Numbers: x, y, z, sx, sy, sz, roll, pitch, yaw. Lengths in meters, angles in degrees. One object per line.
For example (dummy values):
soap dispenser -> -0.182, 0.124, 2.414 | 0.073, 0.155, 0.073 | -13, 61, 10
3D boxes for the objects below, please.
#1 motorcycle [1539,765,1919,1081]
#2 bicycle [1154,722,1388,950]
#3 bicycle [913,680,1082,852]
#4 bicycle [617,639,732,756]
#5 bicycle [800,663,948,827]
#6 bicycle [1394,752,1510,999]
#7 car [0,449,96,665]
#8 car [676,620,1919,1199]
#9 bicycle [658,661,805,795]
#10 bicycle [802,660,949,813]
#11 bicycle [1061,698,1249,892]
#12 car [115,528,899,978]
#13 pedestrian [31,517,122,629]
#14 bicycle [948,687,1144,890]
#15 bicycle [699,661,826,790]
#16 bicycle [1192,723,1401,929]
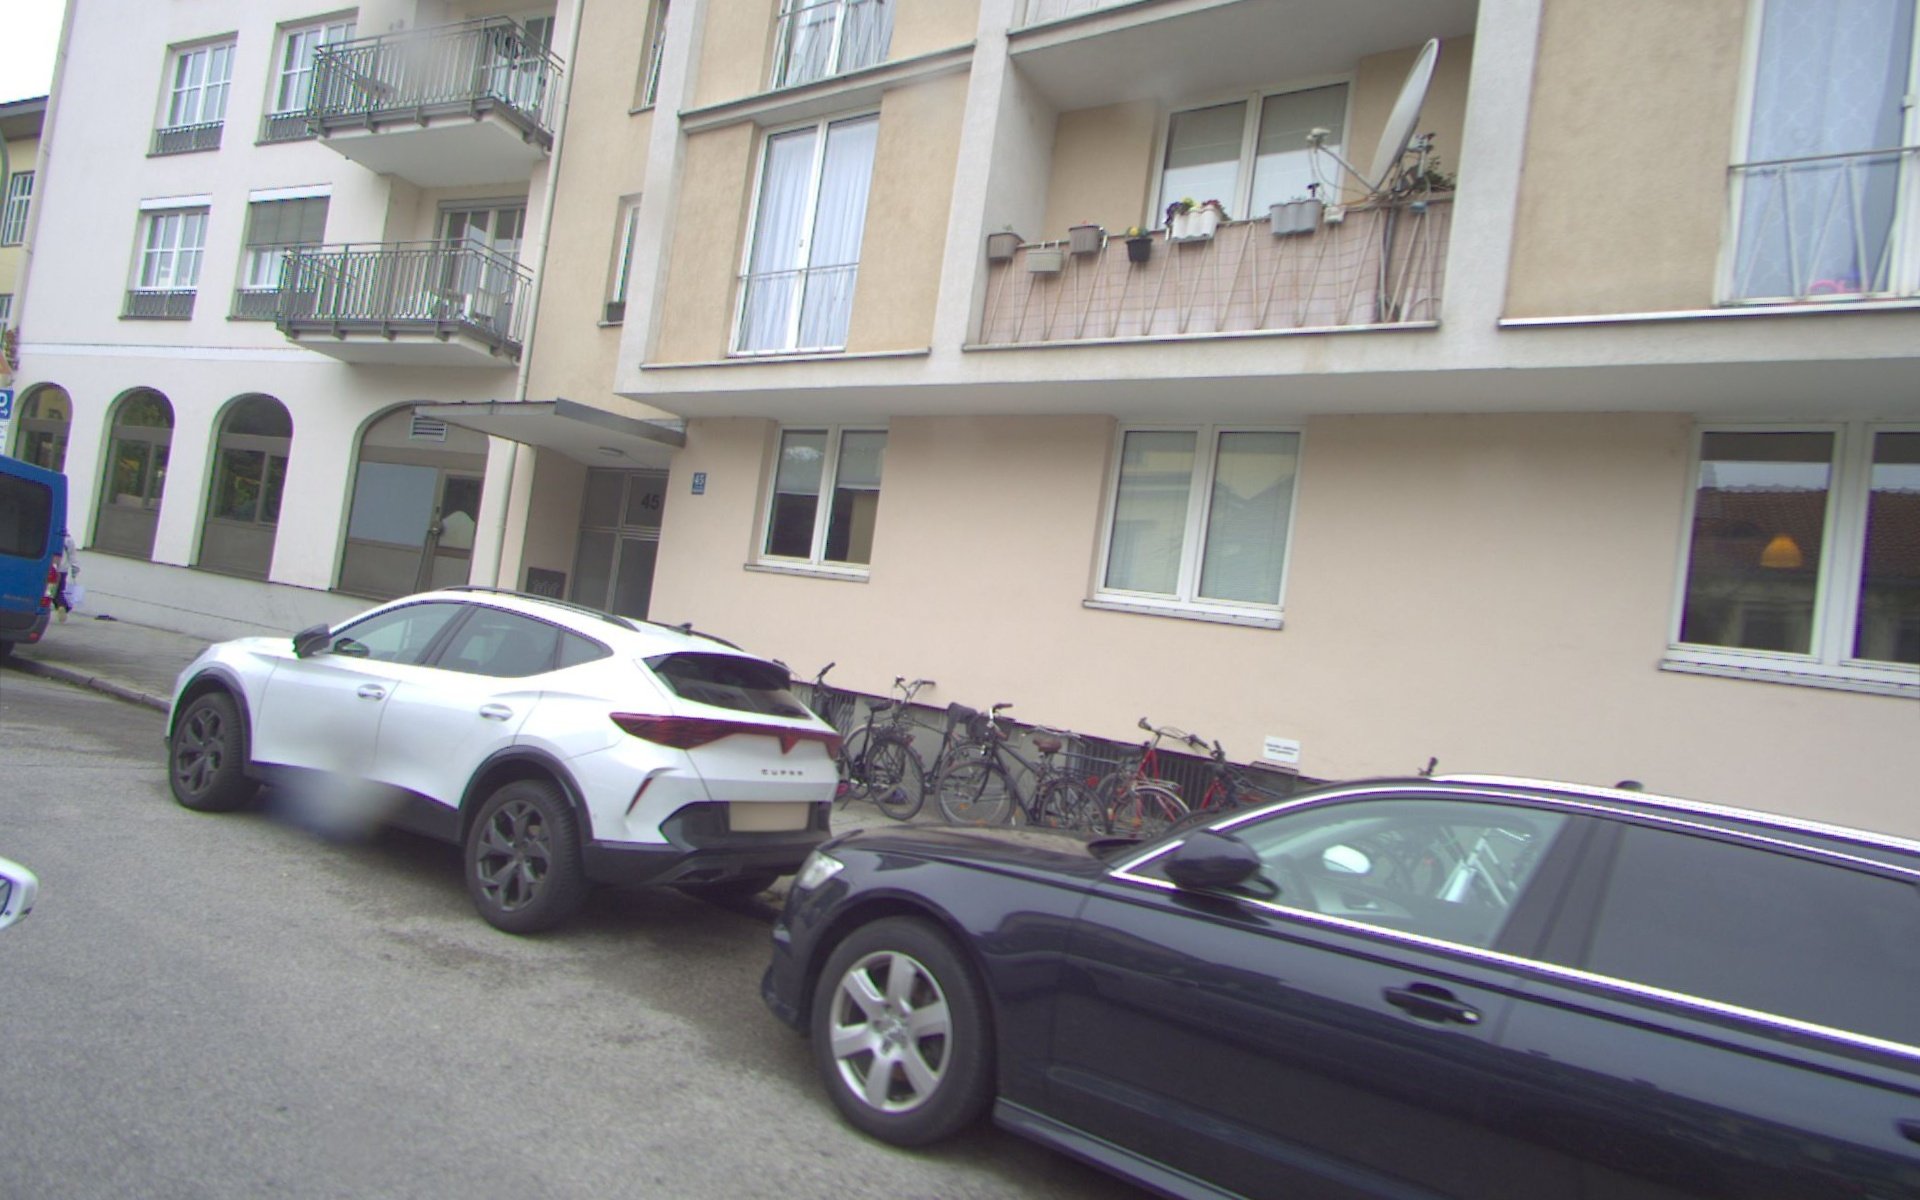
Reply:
motorcycle -> 4.560, 1.784, 5.784 | 2.007, 1.286, 0.636 | 6, -1, 32
bicycle -> 2.086, 1.538, 6.803 | 1.347, 1.217, 0.447 | 6, 1, 30
bicycle -> 0.301, 1.385, 8.703 | 1.374, 1.217, 0.446 | 6, 1, 39
bicycle -> -3.174, 1.054, 11.141 | 1.325, 1.115, 0.369 | 6, 1, 33
bicycle -> -0.776, 1.233, 8.840 | 1.264, 1.217, 0.412 | 6, 1, 39
bicycle -> 3.099, 1.674, 6.420 | 0.386, 1.217, 1.341 | 6, 1, 19
car -> -12.753, -0.737, 11.635 | 4.940, 2.233, 2.121 | 5, -8, 26
car -> 1.492, 1.166, 3.105 | 4.617, 1.442, 1.780 | 6, -7, 33
bicycle -> -2.225, 1.223, 9.807 | 1.277, 1.115, 0.395 | 6, 1, 16
bicycle -> -0.823, 1.257, 9.552 | 1.374, 1.217, 0.446 | 6, 1, 39
bicycle -> 1.481, 1.452, 7.752 | 1.265, 1.217, 0.416 | 6, 1, 37
car -> -2.731, 0.717, 5.972 | 4.228, 1.537, 1.785 | 8, -6, 27
pedestrian -> -13.760, -0.408, 15.679 | 0.687, 1.624, 0.713 | 7, 0, 25
bicycle -> 0.611, 1.375, 7.699 | 0.395, 1.217, 1.548 | 4, 1, -42
bicycle -> -2.049, 1.264, 10.365 | 1.325, 1.115, 0.369 | 6, 1, 33
bicycle -> 2.481, 1.628, 7.497 | 1.322, 1.217, 0.392 | 6, 1, 38
